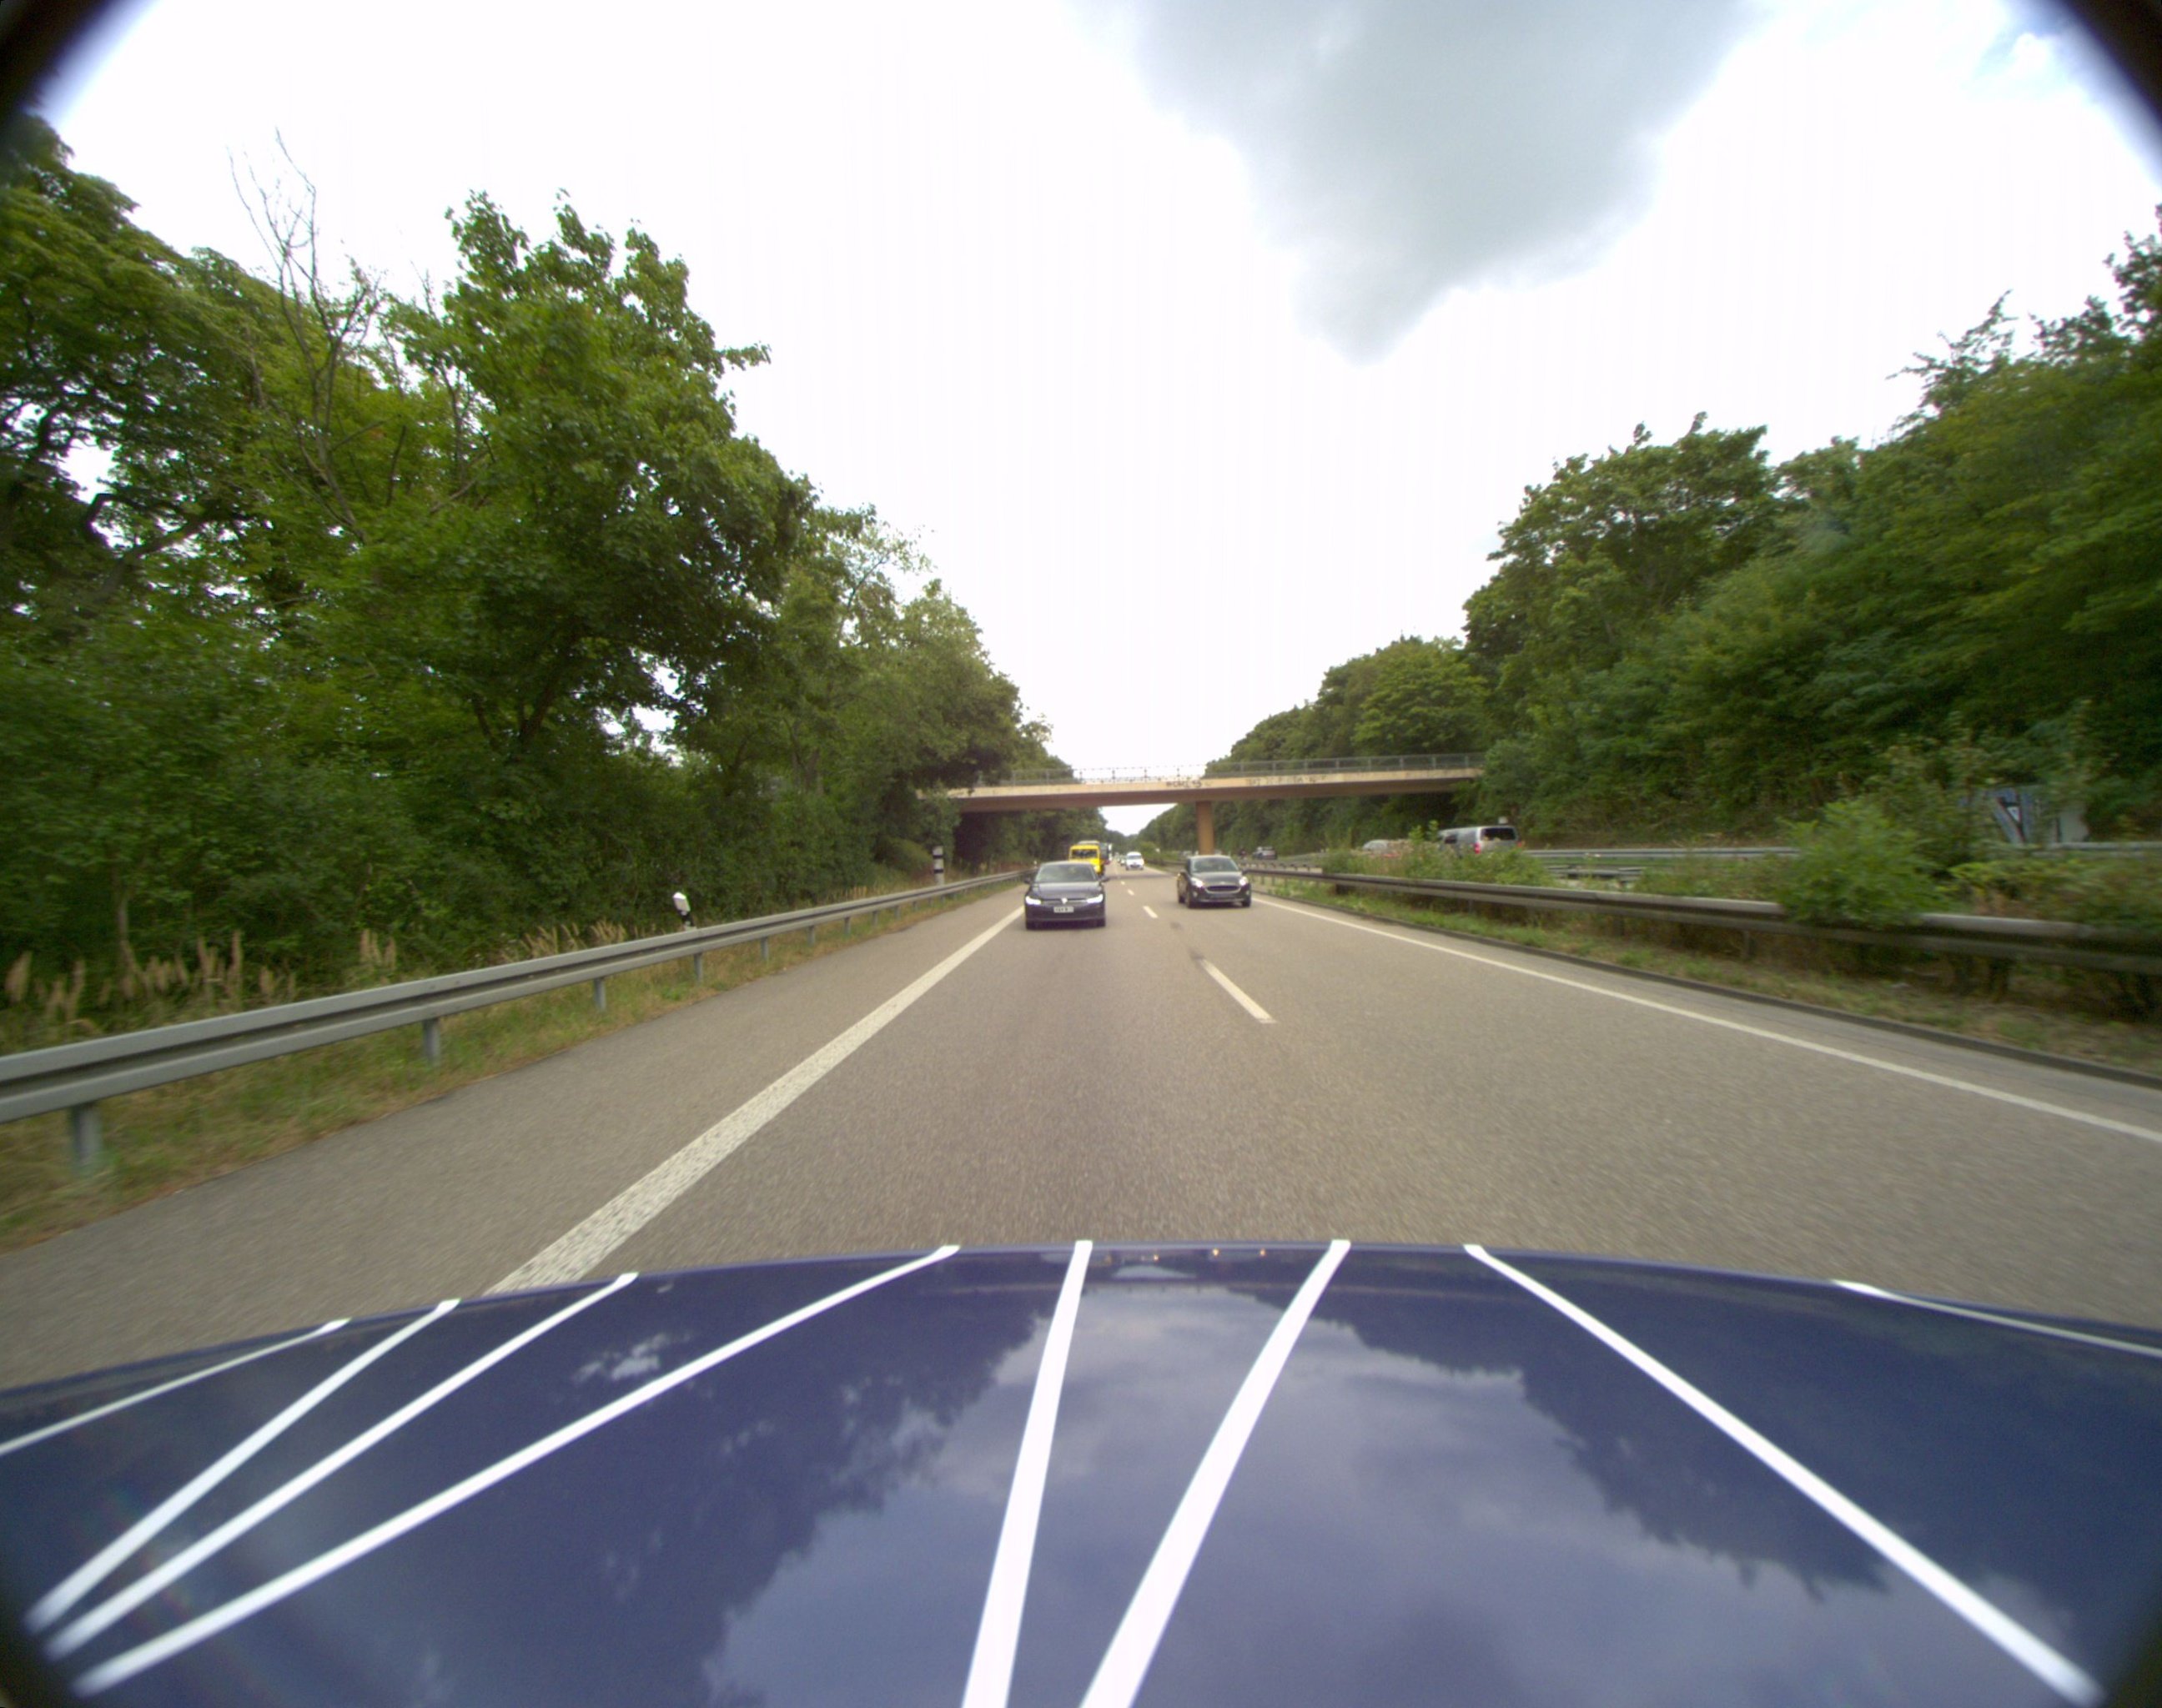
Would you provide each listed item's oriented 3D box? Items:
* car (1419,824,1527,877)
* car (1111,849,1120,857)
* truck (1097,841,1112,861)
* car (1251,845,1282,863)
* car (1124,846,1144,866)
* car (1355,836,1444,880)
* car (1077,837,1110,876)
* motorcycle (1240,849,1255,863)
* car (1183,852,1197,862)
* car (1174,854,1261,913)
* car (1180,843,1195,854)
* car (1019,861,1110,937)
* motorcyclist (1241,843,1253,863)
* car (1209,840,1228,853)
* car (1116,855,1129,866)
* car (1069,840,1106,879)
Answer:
[{"bbox_3d":[16.109,-0.162,31.613,1.800,2.002,5.301,-2,1,1],"label":"car"},{"bbox_3d":[7.383,-0.228,162.541,1.998,1.422,4.000,-2,1,2],"label":"car"},{"bbox_3d":[4.351,-0.512,140.275,2.548,3.564,6.456,-2,1,1],"label":"truck"},{"bbox_3d":[17.986,-0.001,73.838,1.898,1.642,4.639,-2,1,2],"label":"car"},{"bbox_3d":[5.607,0.208,80.486,1.821,1.993,4.423,-2,1,1],"label":"car"},{"bbox_3d":[12.577,0.126,30.259,1.807,1.581,4.181,-2,1,1],"label":"car"},{"bbox_3d":[0.853,0.152,56.682,2.208,2.732,6.166,-2,1,-1],"label":"car"},{"bbox_3d":[13.185,0.173,60.219,0.703,1.061,2.196,-2,1,1],"label":"motorcycle"},{"bbox_3d":[18.782,0.566,131.430,1.898,1.642,4.639,-2,1,2],"label":"car"},{"bbox_3d":[3.903,0.784,22.445,1.830,1.449,4.639,-2,1,2],"label":"car"},{"bbox_3d":[14.851,-0.730,106.039,1.693,1.455,3.990,-2,1,2],"label":"car"},{"bbox_3d":[-0.297,0.935,17.788,1.800,1.398,4.639,-2,1,1],"label":"car"},{"bbox_3d":[13.178,-0.084,60.400,0.682,1.540,0.846,-3,1,1],"label":"motorcyclist"},{"bbox_3d":[19.000,-0.989,105.080,1.898,1.677,4.639,-2,1,2],"label":"car"},{"bbox_3d":[6.214,0.942,112.968,1.772,1.416,4.198,-2,1,1],"label":"car"},{"bbox_3d":[0.380,0.332,49.578,2.248,2.334,5.223,-2,1,-1],"label":"car"}]
